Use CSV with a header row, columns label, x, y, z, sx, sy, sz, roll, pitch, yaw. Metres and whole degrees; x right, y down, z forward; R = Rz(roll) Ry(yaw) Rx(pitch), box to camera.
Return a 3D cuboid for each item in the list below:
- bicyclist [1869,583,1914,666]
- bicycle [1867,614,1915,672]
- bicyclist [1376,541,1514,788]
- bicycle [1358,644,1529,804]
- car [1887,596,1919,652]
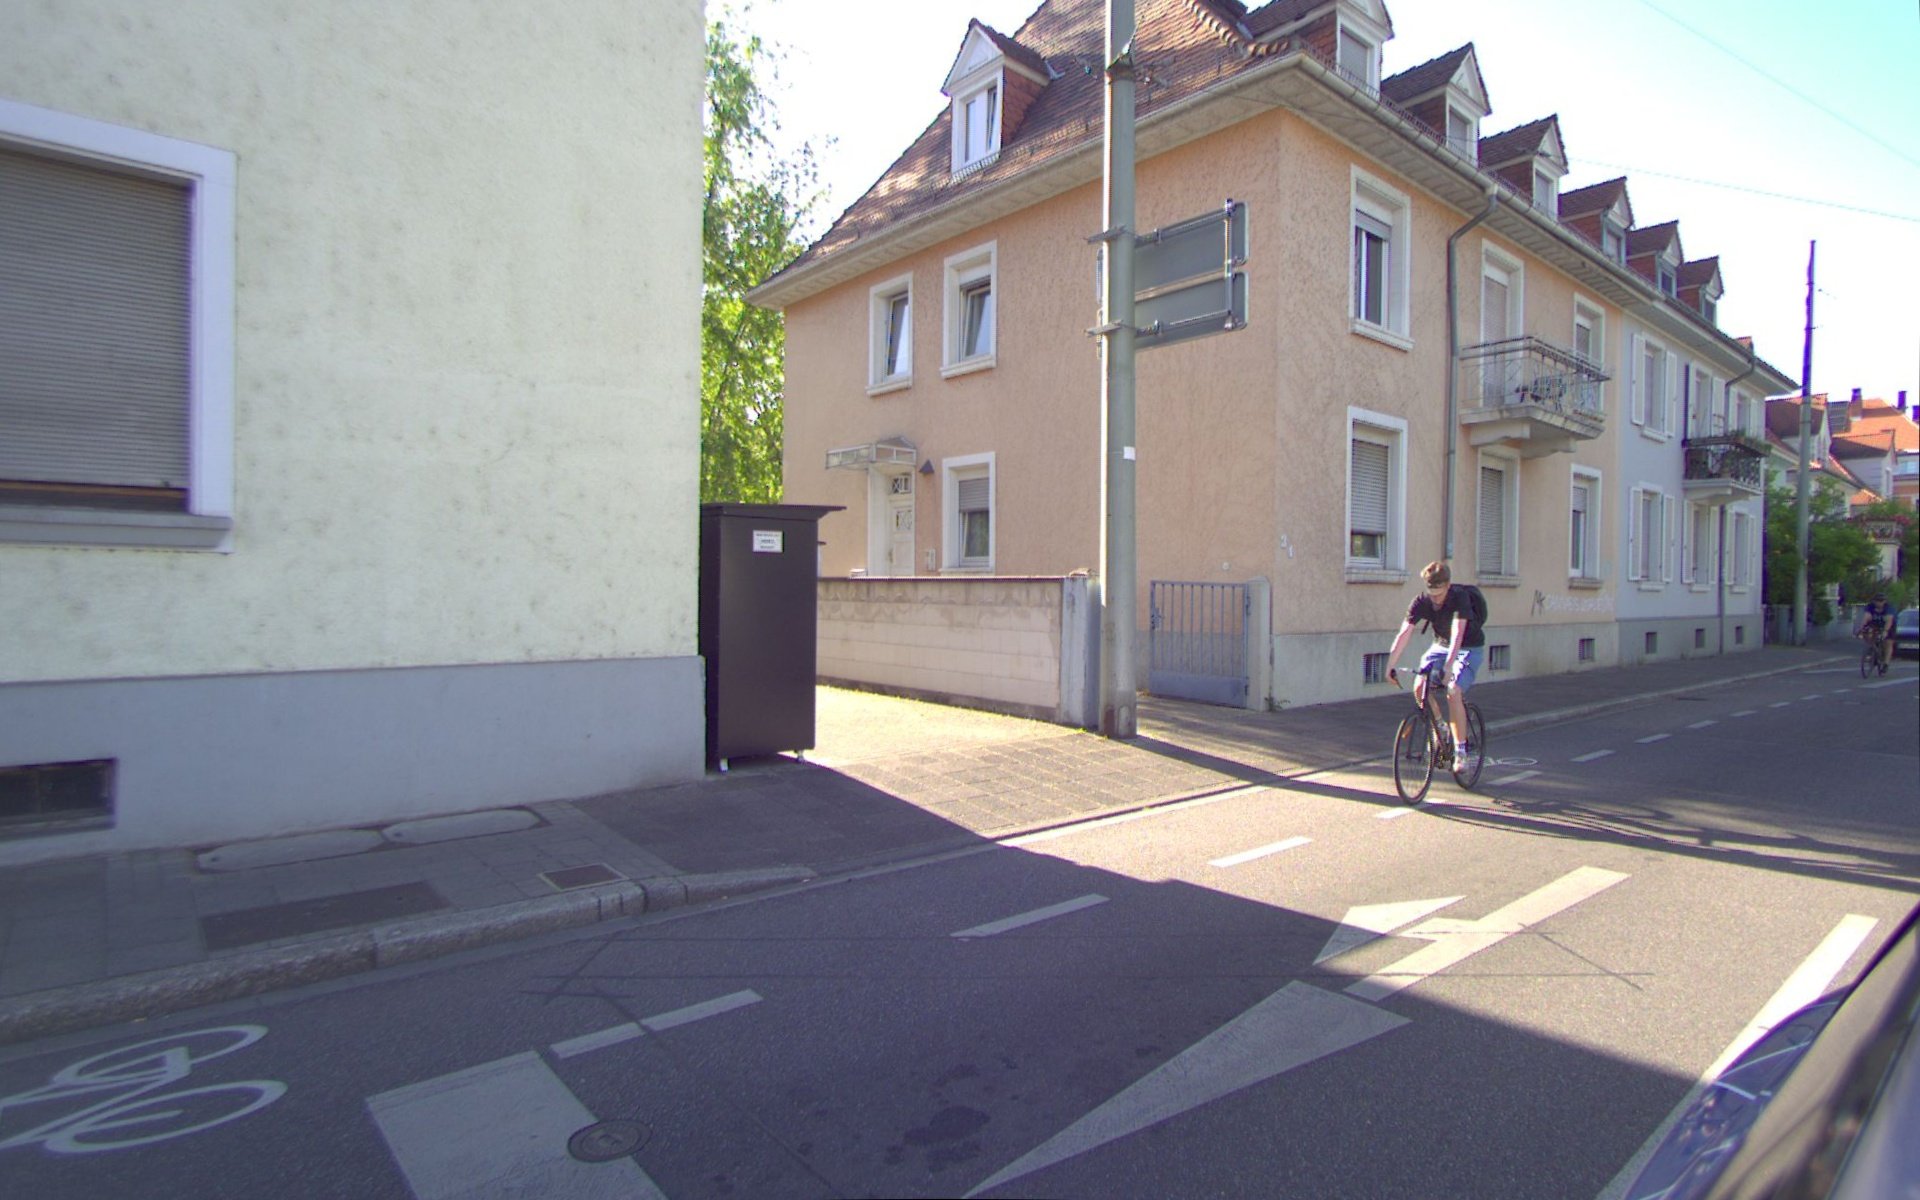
label,x,y,z,sx,sy,sz,roll,pitch,yaw
bicyclist,18.902,0.486,20.532,0.999,1.637,0.561,0,1,-42
bicycle,18.852,0.851,20.484,1.764,1.076,0.550,-1,1,-42
bicyclist,3.724,0.453,7.748,1.065,1.752,0.561,0,0,-40
bicycle,3.752,0.891,7.787,1.727,1.029,0.533,0,1,-41
car,26.708,0.626,27.404,4.347,1.425,1.866,0,1,-41
